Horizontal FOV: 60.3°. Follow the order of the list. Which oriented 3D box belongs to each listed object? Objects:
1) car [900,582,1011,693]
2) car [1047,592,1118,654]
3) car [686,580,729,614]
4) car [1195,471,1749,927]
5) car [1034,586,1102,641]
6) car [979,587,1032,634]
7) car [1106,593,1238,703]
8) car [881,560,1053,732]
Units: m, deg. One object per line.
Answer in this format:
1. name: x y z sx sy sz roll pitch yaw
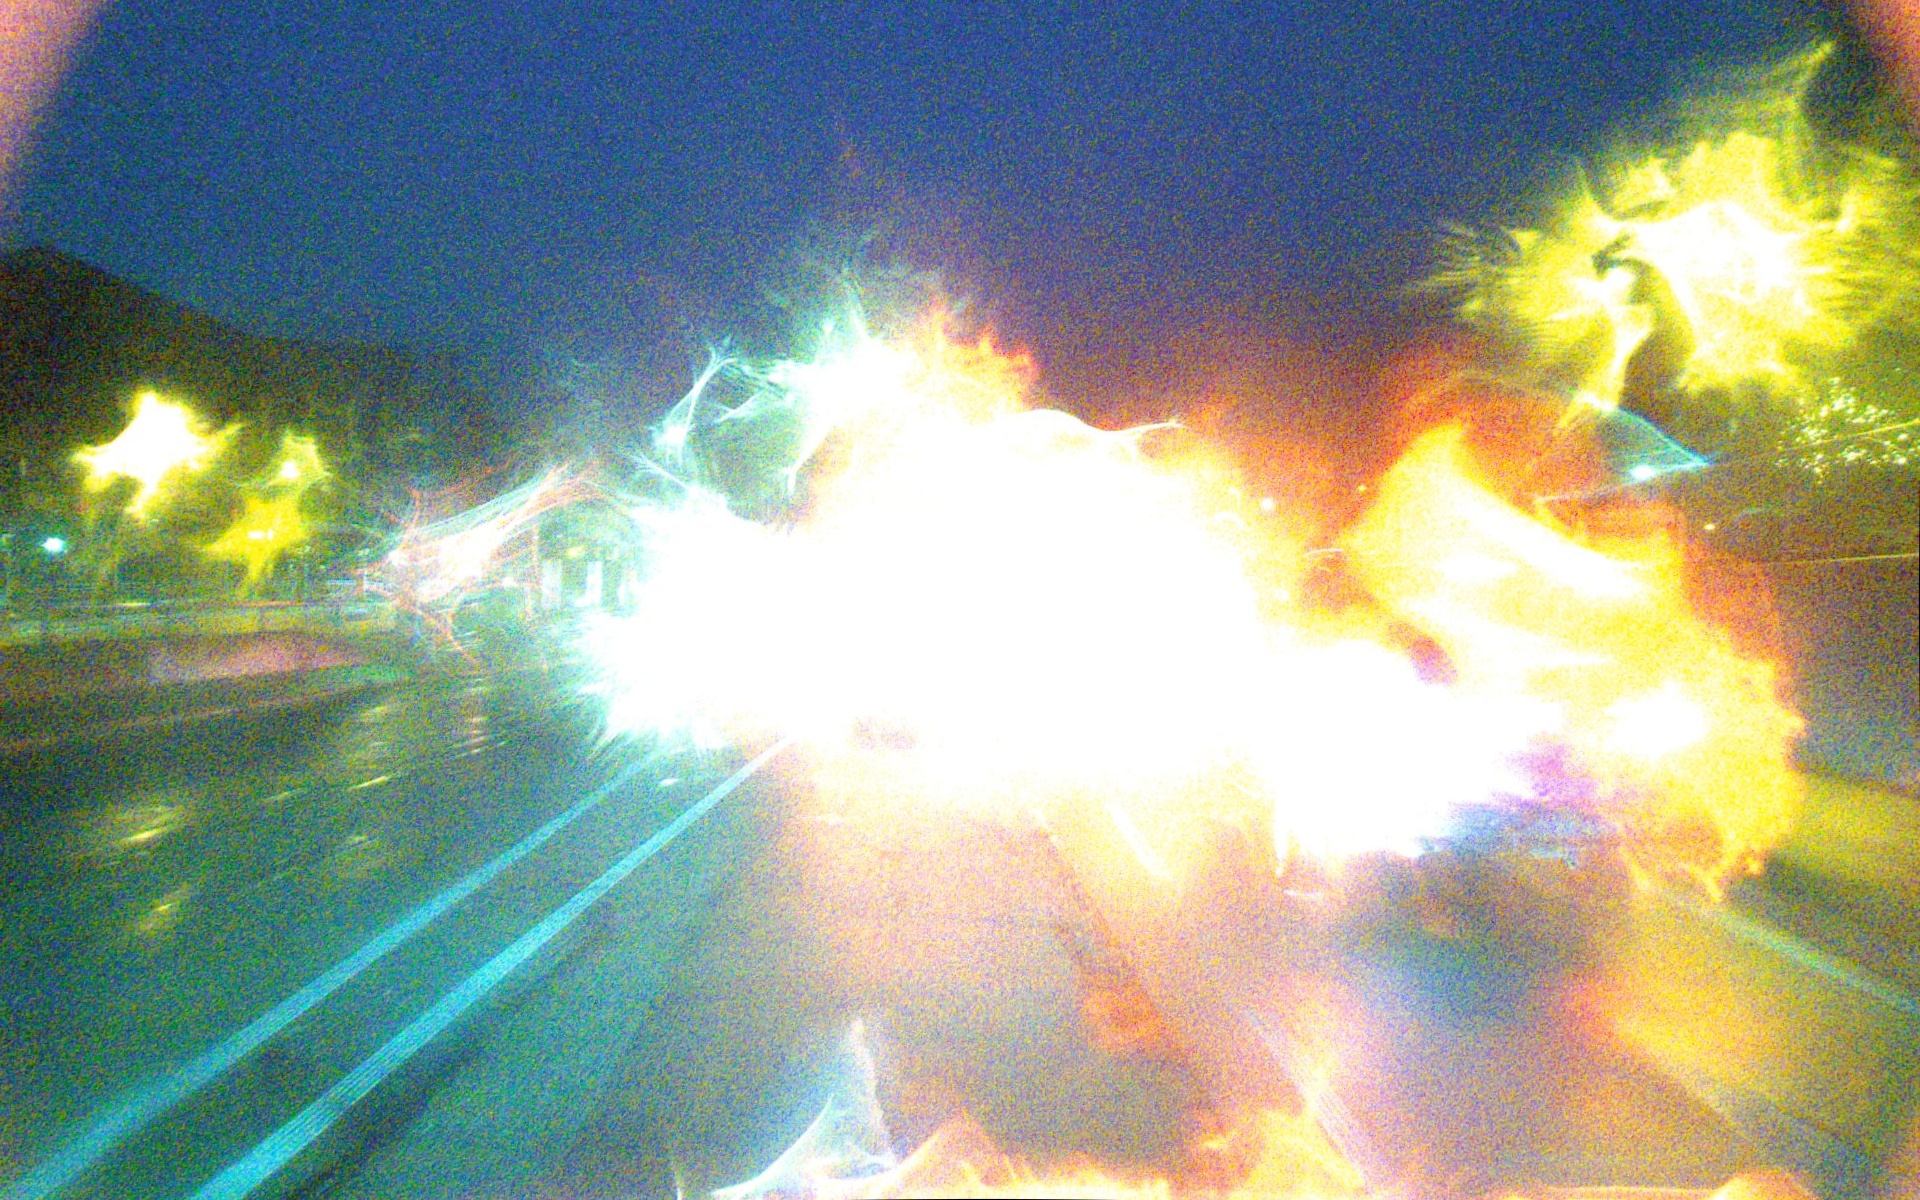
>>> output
1. car: -0.040 0.554 27.115 1.673 1.666 3.731 0 1 1
2. car: 3.010 0.553 41.355 1.628 1.475 4.051 0 0 2
3. car: -15.131 -0.211 98.808 1.961 1.945 4.723 1 0 -16
4. car: 2.593 0.417 9.520 1.902 2.006 4.219 1 1 1
5. car: 3.097 0.348 47.946 1.629 1.475 4.049 1 1 -1
6. car: 1.471 0.331 54.757 1.629 1.475 4.049 1 0 0
7. car: 3.188 0.671 25.528 1.731 1.475 4.220 1 1 4
8. car: 0.081 0.455 18.251 1.660 1.658 3.853 1 0 0
